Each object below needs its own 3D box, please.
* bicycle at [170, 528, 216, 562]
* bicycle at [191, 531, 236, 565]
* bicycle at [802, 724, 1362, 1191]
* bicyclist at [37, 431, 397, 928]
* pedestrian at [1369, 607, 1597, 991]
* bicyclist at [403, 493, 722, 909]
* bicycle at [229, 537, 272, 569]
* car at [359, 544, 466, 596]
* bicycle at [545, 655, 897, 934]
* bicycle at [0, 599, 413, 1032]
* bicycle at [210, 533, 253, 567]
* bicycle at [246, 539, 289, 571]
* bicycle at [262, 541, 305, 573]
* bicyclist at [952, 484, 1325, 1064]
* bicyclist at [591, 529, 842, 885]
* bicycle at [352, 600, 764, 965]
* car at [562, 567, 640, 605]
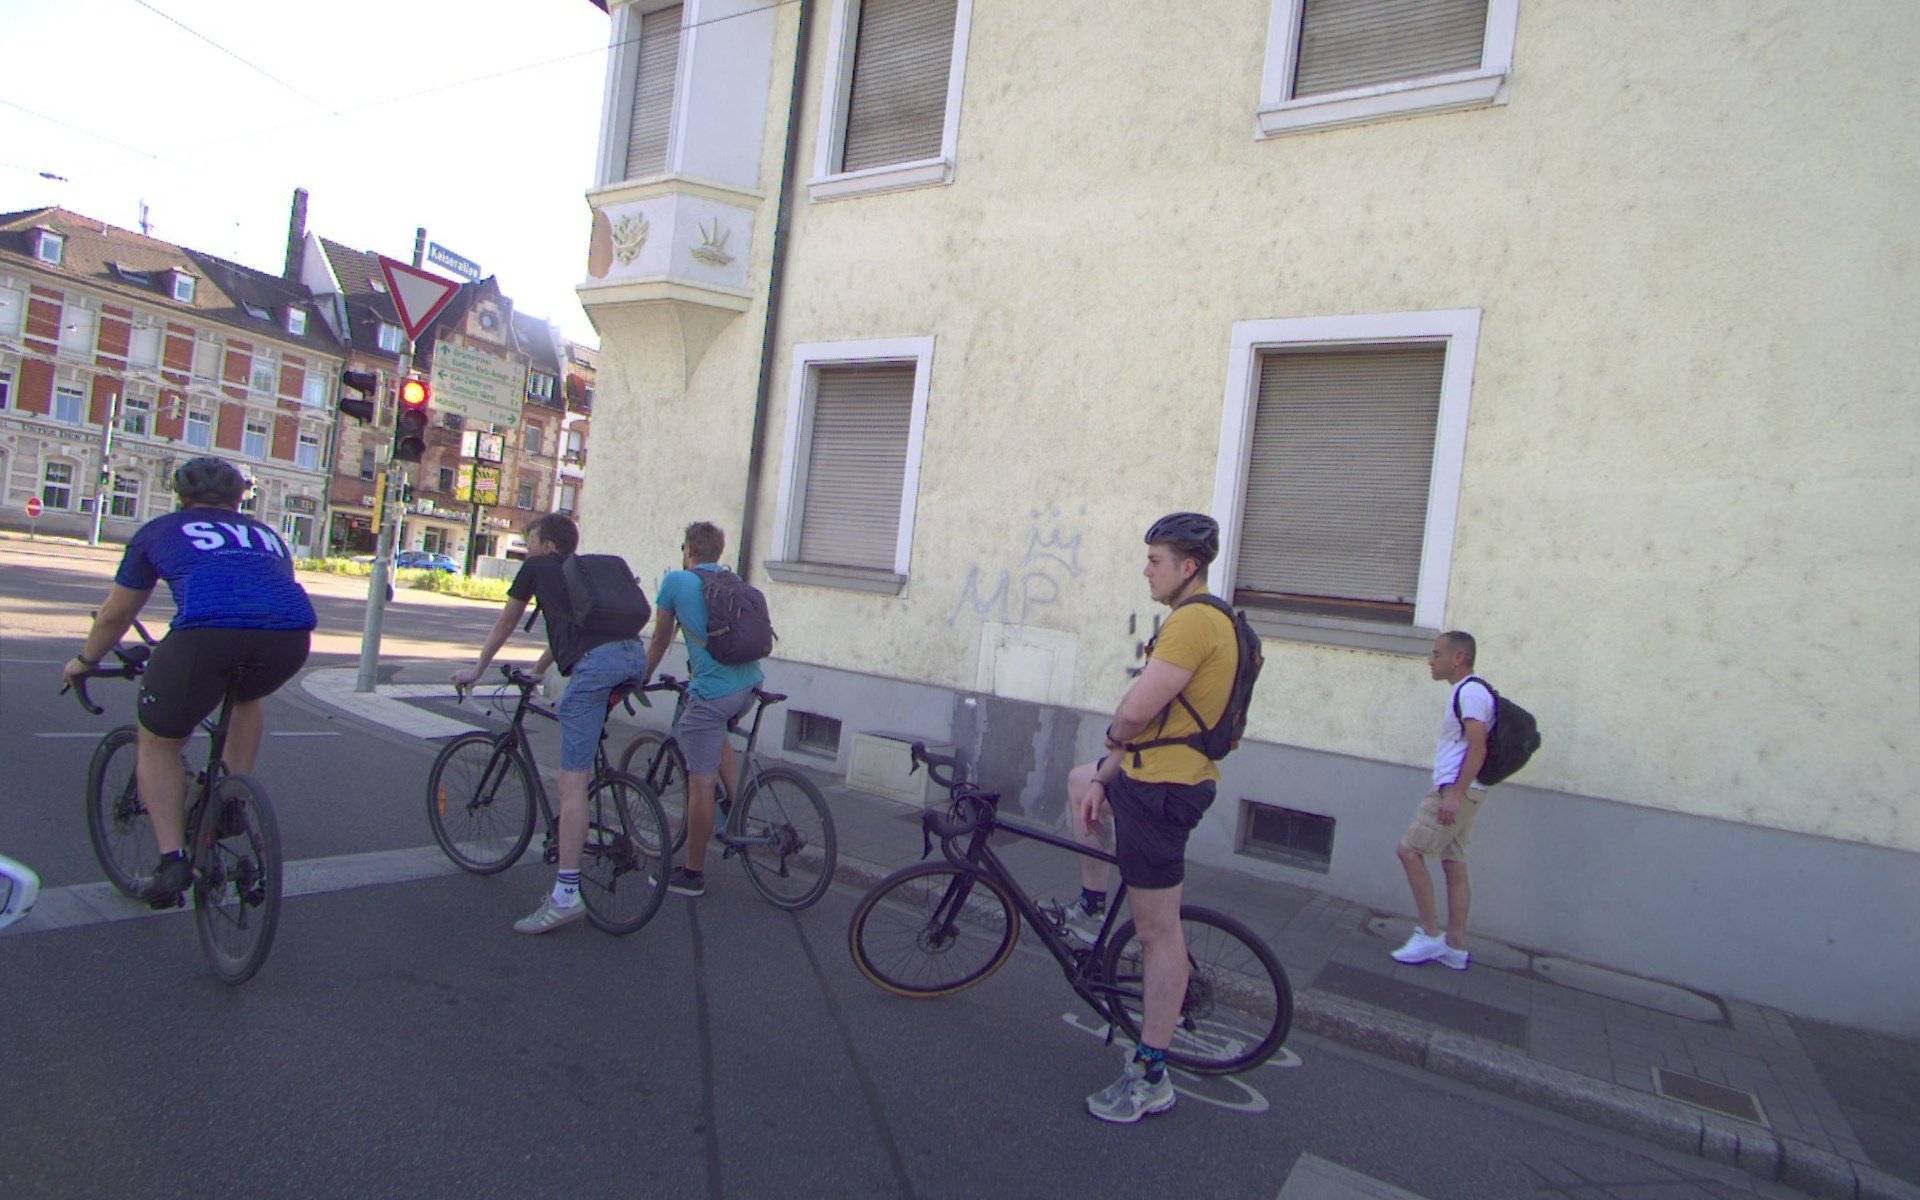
[{"bbox_3d":[-34.604,-2.502,45.395,2.618,1.301,0.693,6,-1,33],"label":"bicycle"},{"bbox_3d":[-34.192,-2.400,46.067,2.618,1.301,0.693,6,-1,33],"label":"bicycle"},{"bbox_3d":[0.397,1.104,3.630,1.751,1.043,0.756,6,-2,33],"label":"bicycle"},{"bbox_3d":[-2.639,0.233,3.573,0.869,1.512,0.639,9,0,36],"label":"bicyclist"},{"bbox_3d":[2.587,0.960,5.041,0.631,1.780,0.584,4,3,-7],"label":"pedestrian"},{"bbox_3d":[-1.782,0.416,4.563,0.868,1.625,0.807,7,-1,30],"label":"bicyclist"},{"bbox_3d":[-33.412,-2.218,47.363,2.618,1.301,0.629,6,-1,33],"label":"bicycle"},{"bbox_3d":[-25.465,-1.362,46.902,1.967,1.798,3.790,6,-2,31],"label":"car"},{"bbox_3d":[-1.275,0.924,5.227,1.742,1.043,0.650,6,-1,33],"label":"bicycle"},{"bbox_3d":[-2.772,0.647,3.609,1.676,1.097,0.627,6,-1,35],"label":"bicycle"},{"bbox_3d":[-33.825,-2.332,46.691,2.618,1.301,0.629,6,-1,33],"label":"bicycle"},{"bbox_3d":[-33.044,-2.160,47.993,2.618,1.301,0.629,6,-1,33],"label":"bicycle"},{"bbox_3d":[-32.675,-2.080,48.582,2.618,1.301,0.629,6,-1,33],"label":"bicycle"},{"bbox_3d":[0.649,0.521,3.524,0.869,1.682,0.807,6,-1,32],"label":"bicyclist"},{"bbox_3d":[-1.271,0.522,5.281,0.869,1.652,0.690,6,-1,34],"label":"bicyclist"},{"bbox_3d":[-1.861,0.736,4.612,1.674,1.251,0.756,6,-1,30],"label":"bicycle"},{"bbox_3d":[-23.239,-0.877,65.285,1.967,1.798,4.374,6,-2,31],"label":"car"}]
